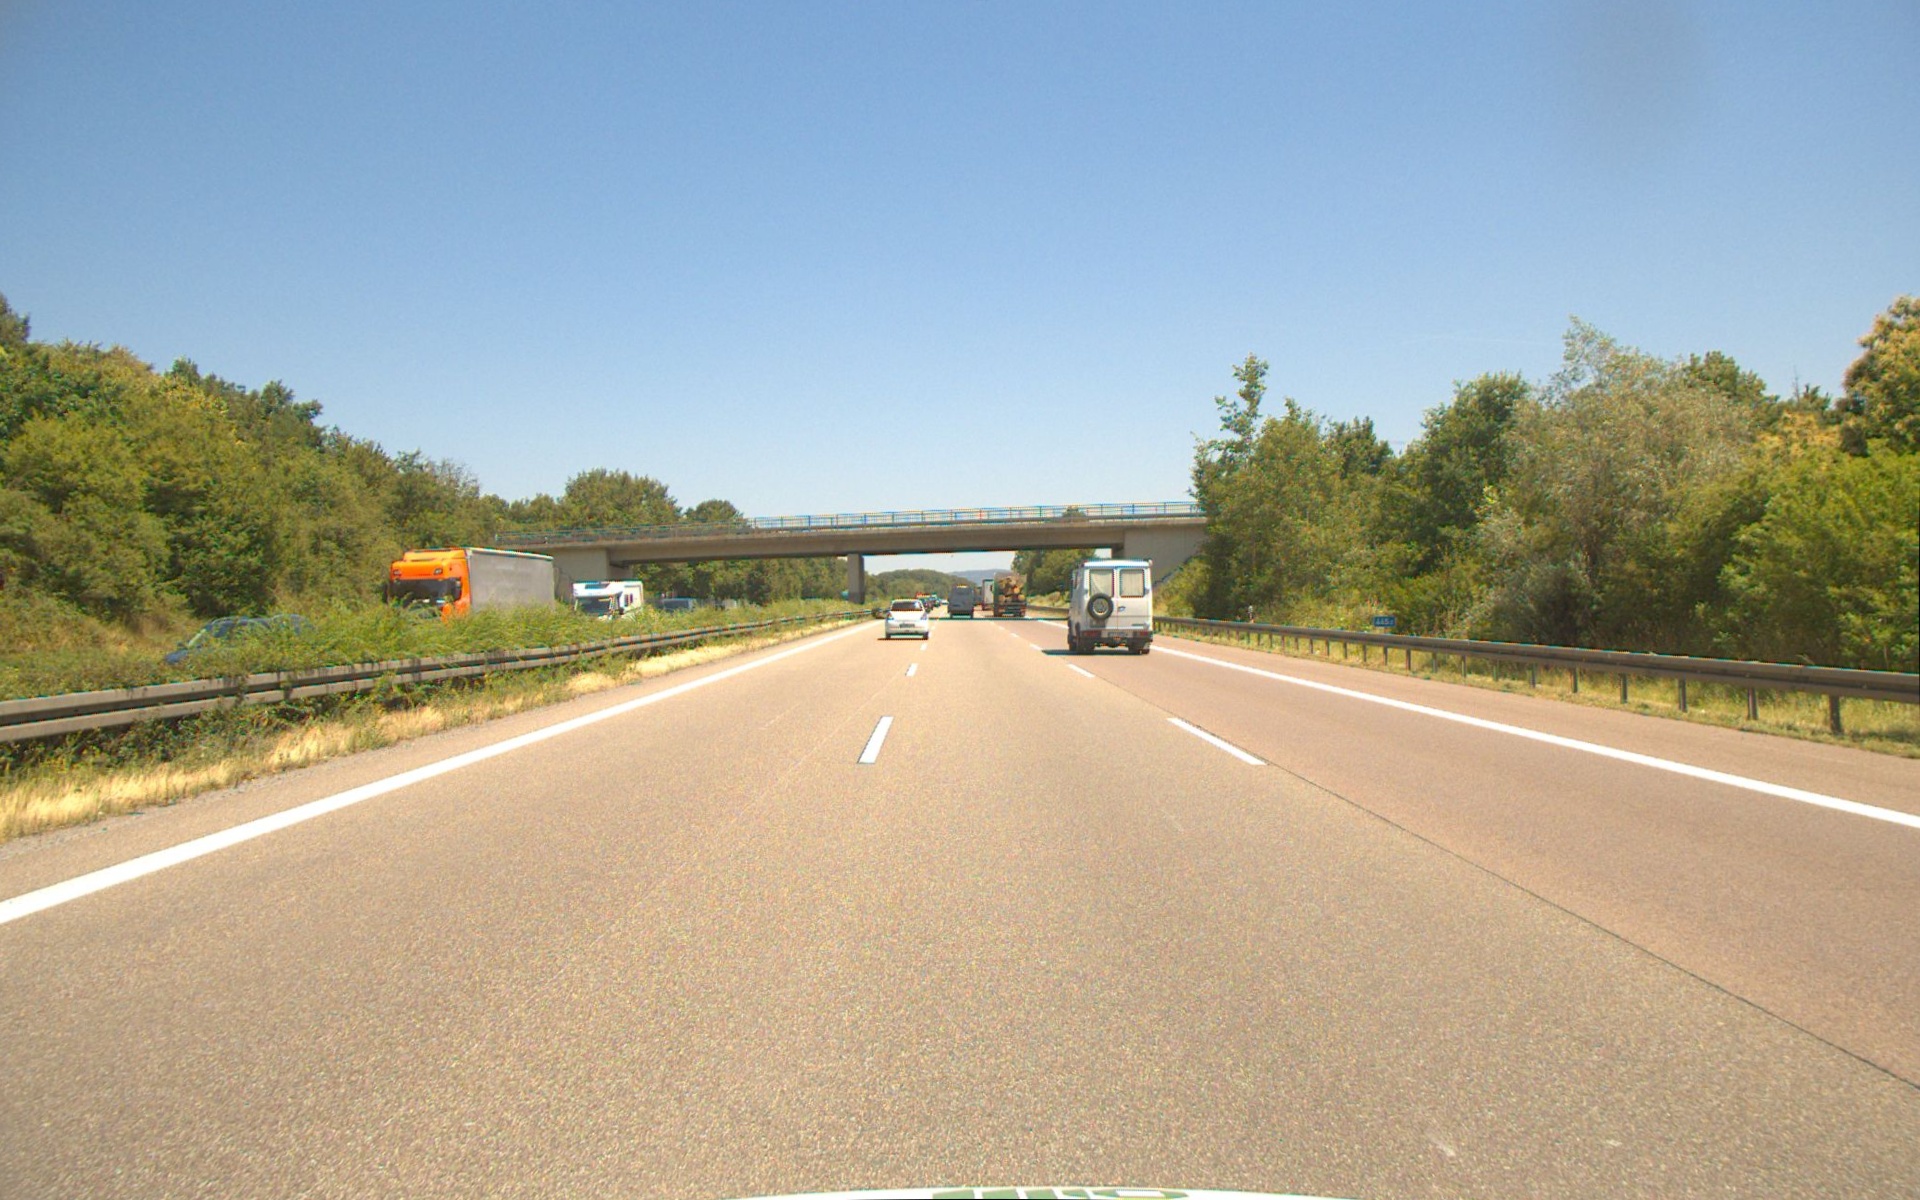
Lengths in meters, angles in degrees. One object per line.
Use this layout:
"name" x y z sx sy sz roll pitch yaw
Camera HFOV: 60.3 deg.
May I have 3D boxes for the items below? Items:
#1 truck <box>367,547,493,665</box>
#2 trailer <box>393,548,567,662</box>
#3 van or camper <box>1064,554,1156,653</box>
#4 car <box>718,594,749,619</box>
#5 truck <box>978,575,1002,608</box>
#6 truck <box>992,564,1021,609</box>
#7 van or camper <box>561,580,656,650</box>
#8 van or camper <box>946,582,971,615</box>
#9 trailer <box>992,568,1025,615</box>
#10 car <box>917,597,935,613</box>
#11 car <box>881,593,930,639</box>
"truck" -20.152 0.228 63.198 3.073 4.305 5.175 1 0 0
"trailer" -20.111 0.229 70.625 3.080 4.322 14.478 1 0 0
"van or camper" 4.382 0.118 49.257 2.071 2.750 6.366 0 0 -1
"car" -18.918 0.551 138.225 1.952 2.049 4.001 -1 0 1
"truck" 4.086 -1.101 225.773 3.015 4.283 16.844 1 0 1
"truck" 4.292 -1.196 153.940 2.615 4.064 6.636 0 0 0
"van or camper" -16.047 0.673 76.056 2.559 3.018 7.859 1 0 1
"van or camper" -0.106 -0.104 138.128 2.016 2.668 5.985 0 0 0
"trailer" 4.266 -0.728 146.984 2.598 4.028 13.636 0 0 0
"car" -3.629 0.487 176.066 1.819 1.681 3.999 0 0 -1
"car" -2.081 0.612 64.030 1.819 1.681 3.999 1 0 -1
